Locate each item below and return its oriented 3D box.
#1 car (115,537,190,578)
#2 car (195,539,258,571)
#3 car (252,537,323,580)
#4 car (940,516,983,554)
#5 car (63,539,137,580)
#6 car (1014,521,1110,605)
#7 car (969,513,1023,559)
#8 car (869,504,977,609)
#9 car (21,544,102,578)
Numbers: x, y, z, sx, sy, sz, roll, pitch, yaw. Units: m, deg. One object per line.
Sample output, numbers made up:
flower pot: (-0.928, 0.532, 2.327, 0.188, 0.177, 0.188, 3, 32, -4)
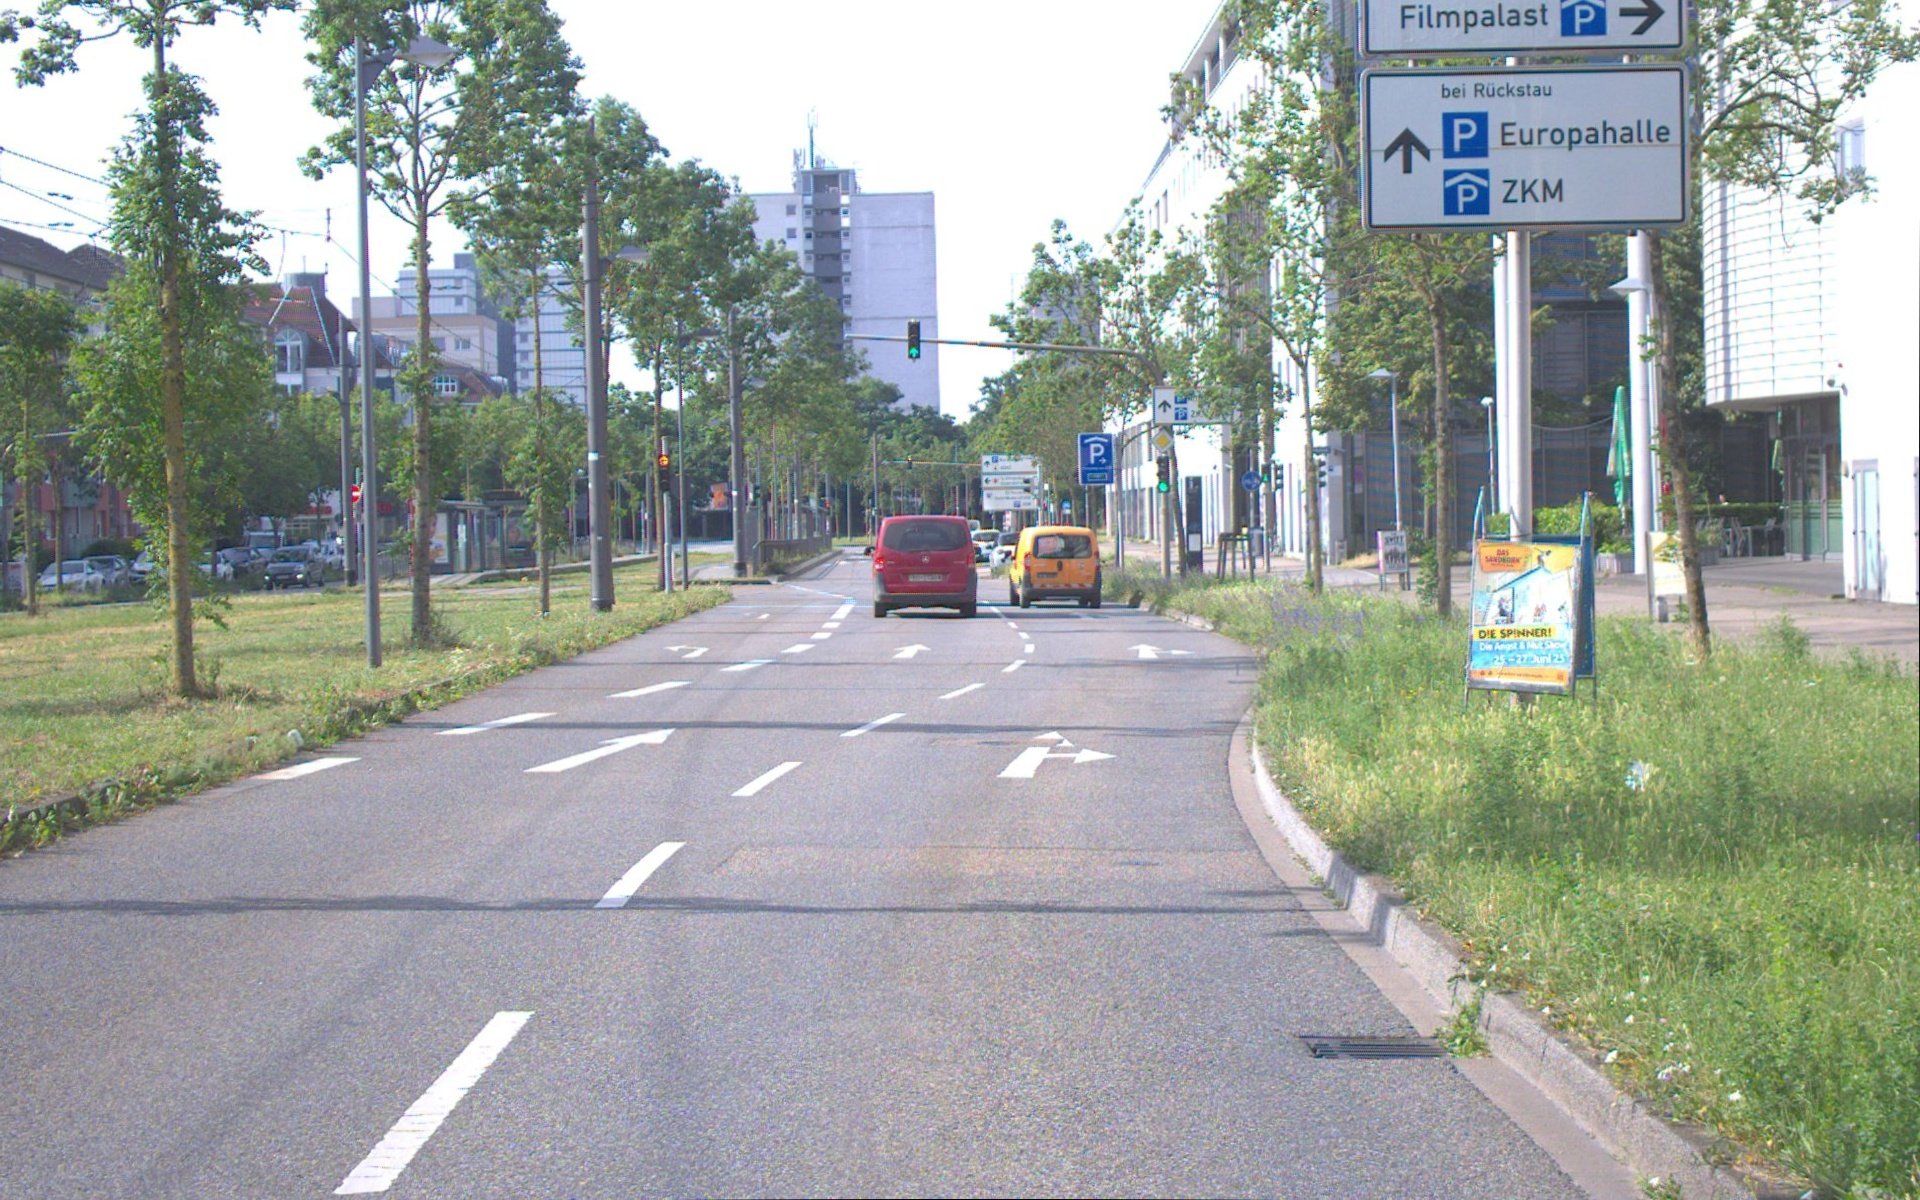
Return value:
car: (-31.699, -1.671, 134.985, 1.980, 1.551, 4.538, 0, 1, -2)
car: (-32.075, -1.967, 150.498, 1.980, 1.356, 4.070, 0, 1, -2)
car: (-27.820, -1.726, 142.363, 1.993, 1.700, 4.713, -1, 1, 0)
car: (0.056, -2.768, 146.172, 1.689, 1.521, 3.851, -3, 1, -1)
car: (-31.250, -1.479, 125.036, 1.833, 1.466, 3.827, 0, 1, -2)
car: (2.119, -0.812, 72.549, 1.875, 1.690, 3.974, -1, 1, 0)
car: (1.239, -2.230, 119.732, 1.720, 1.514, 3.782, -1, 2, -2)
car: (-0.713, -0.823, 63.535, 1.874, 1.847, 4.001, -1, 1, -2)
car: (-31.125, -1.367, 119.181, 1.833, 1.144, 4.165, 0, 1, -2)
